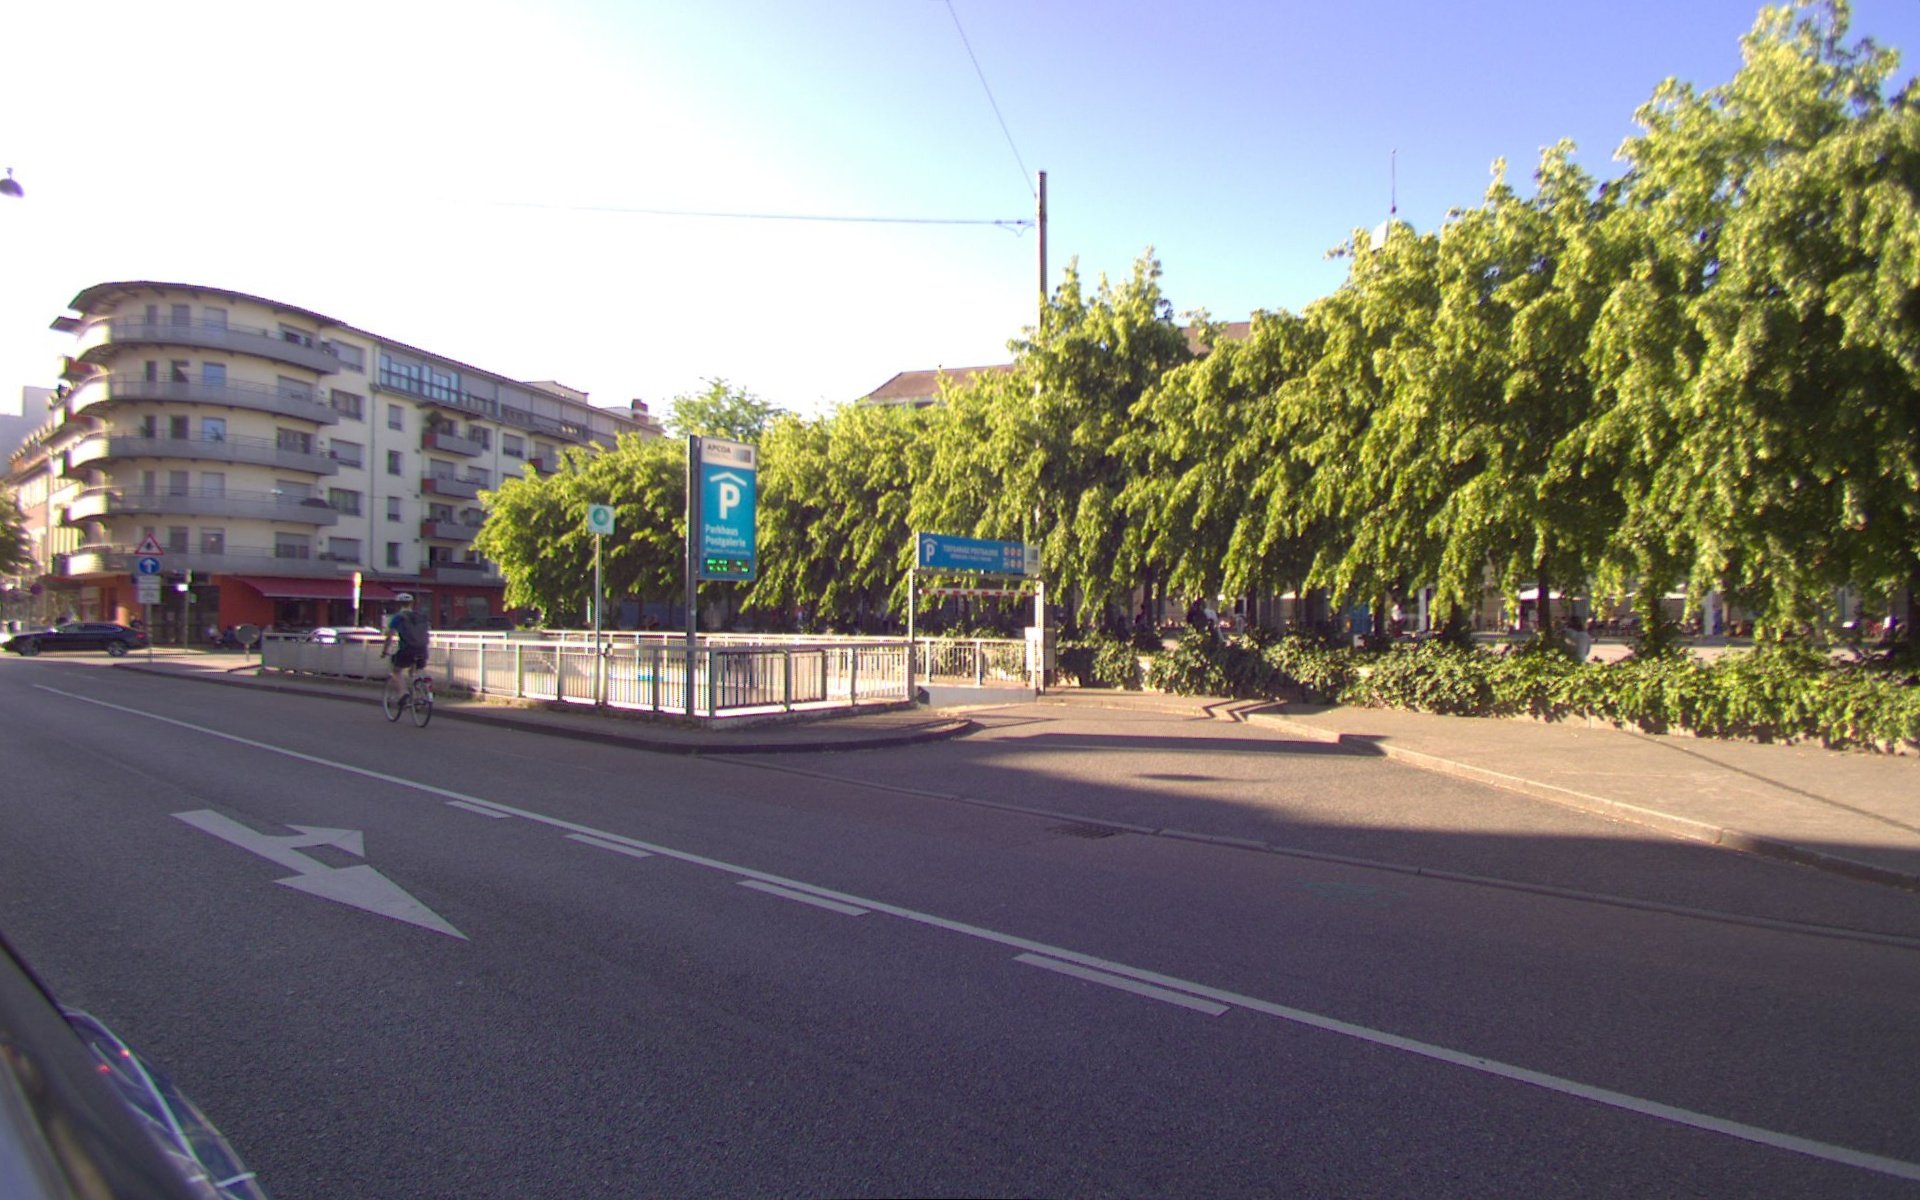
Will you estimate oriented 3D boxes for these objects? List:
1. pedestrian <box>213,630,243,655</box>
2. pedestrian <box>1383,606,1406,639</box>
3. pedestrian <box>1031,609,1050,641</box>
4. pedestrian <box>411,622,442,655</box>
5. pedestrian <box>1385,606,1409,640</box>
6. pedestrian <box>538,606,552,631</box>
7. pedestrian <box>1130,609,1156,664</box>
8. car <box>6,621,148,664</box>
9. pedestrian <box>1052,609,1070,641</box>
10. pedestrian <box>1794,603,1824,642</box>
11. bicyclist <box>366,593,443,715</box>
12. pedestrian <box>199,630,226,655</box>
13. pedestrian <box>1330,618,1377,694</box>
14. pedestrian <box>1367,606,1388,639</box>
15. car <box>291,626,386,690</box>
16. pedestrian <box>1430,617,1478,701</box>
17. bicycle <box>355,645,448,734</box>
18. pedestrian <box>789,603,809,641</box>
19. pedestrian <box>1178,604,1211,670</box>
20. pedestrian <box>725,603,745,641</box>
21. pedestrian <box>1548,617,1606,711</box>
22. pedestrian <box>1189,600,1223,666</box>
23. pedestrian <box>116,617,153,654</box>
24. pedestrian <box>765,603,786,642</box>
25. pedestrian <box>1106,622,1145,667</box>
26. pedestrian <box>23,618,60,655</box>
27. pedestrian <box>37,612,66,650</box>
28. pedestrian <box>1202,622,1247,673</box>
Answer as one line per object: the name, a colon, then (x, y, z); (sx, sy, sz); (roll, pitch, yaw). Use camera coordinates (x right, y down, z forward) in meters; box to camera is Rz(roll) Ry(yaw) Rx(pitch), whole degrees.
pedestrian: (-36.819, 2.126, 50.912); (0.827, 1.207, 0.931); (-1, 0, 16)
pedestrian: (20.324, 1.052, 47.369); (0.672, 1.542, 0.696); (-1, 0, -18)
pedestrian: (3.576, 1.115, 44.865); (0.752, 1.385, 0.684); (-1, 0, 1)
pedestrian: (-27.600, 1.973, 52.320); (1.252, 1.678, 1.142); (-1, 0, -36)
pedestrian: (20.035, 1.056, 46.400); (0.672, 1.536, 0.696); (-1, 0, -19)
pedestrian: (-31.118, 1.396, 75.900); (0.684, 1.857, 0.737); (-1, 0, 41)
pedestrian: (4.670, 0.927, 25.866); (0.545, 1.385, 0.680); (-1, 0, 19)
car: (-35.887, 1.693, 41.281); (4.180, 1.542, 1.681); (-1, 0, -36)
pedestrian: (4.471, 1.103, 44.828); (0.684, 1.385, 0.684); (-1, 0, 1)
pedestrian: (33.638, 0.885, 40.109); (0.736, 1.542, 0.688); (-1, 0, 24)
bicyclist: (-8.156, 0.775, 14.850); (0.809, 1.722, 0.694); (-1, -3, 40)
pedestrian: (-37.640, 2.137, 50.957); (0.882, 1.207, 0.772); (-1, 0, 30)
pedestrian: (7.520, 1.058, 19.356); (0.622, 1.409, 0.644); (-1, 0, 44)
pedestrian: (19.797, 1.059, 48.002); (0.673, 1.535, 0.695); (-1, 0, -7)
car: (-16.912, 1.510, 27.470); (1.613, 1.542, 3.914); (-1, 0, -40)
pedestrian: (8.747, 1.023, 17.910); (0.621, 1.447, 0.645); (-1, 0, 39)
bicycle: (-8.230, 1.279, 14.881); (1.958, 1.171, 0.609); (-1, -3, 44)
pedestrian: (-7.930, 1.095, 49.840); (0.681, 1.857, 0.741); (-1, 0, 27)
pedestrian: (5.520, 0.853, 23.819); (0.688, 1.511, 0.680); (-1, 0, 19)
pedestrian: (-11.172, 1.086, 50.200); (0.679, 1.857, 0.743); (-1, 0, 19)
pedestrian: (9.803, 1.009, 16.101); (0.611, 1.447, 0.588); (-1, 0, 14)
pedestrian: (6.044, 0.804, 24.871); (0.517, 1.594, 0.686); (-1, 0, -15)
pedestrian: (-40.247, 1.738, 49.351); (0.952, 1.762, 1.058); (-1, 0, 10)
pedestrian: (-8.908, 1.098, 48.979); (0.681, 1.877, 0.741); (-1, 0, 27)
pedestrian: (4.096, 1.087, 25.075); (0.682, 1.079, 0.686); (-1, 0, -29)
pedestrian: (-44.950, 1.783, 49.543); (1.076, 1.732, 1.059); (-1, 0, 29)
pedestrian: (-47.715, 1.631, 53.154); (0.790, 1.934, 0.978); (-1, 0, 37)
pedestrian: (5.789, 1.032, 22.155); (0.682, 1.079, 0.686); (-1, 0, -13)
